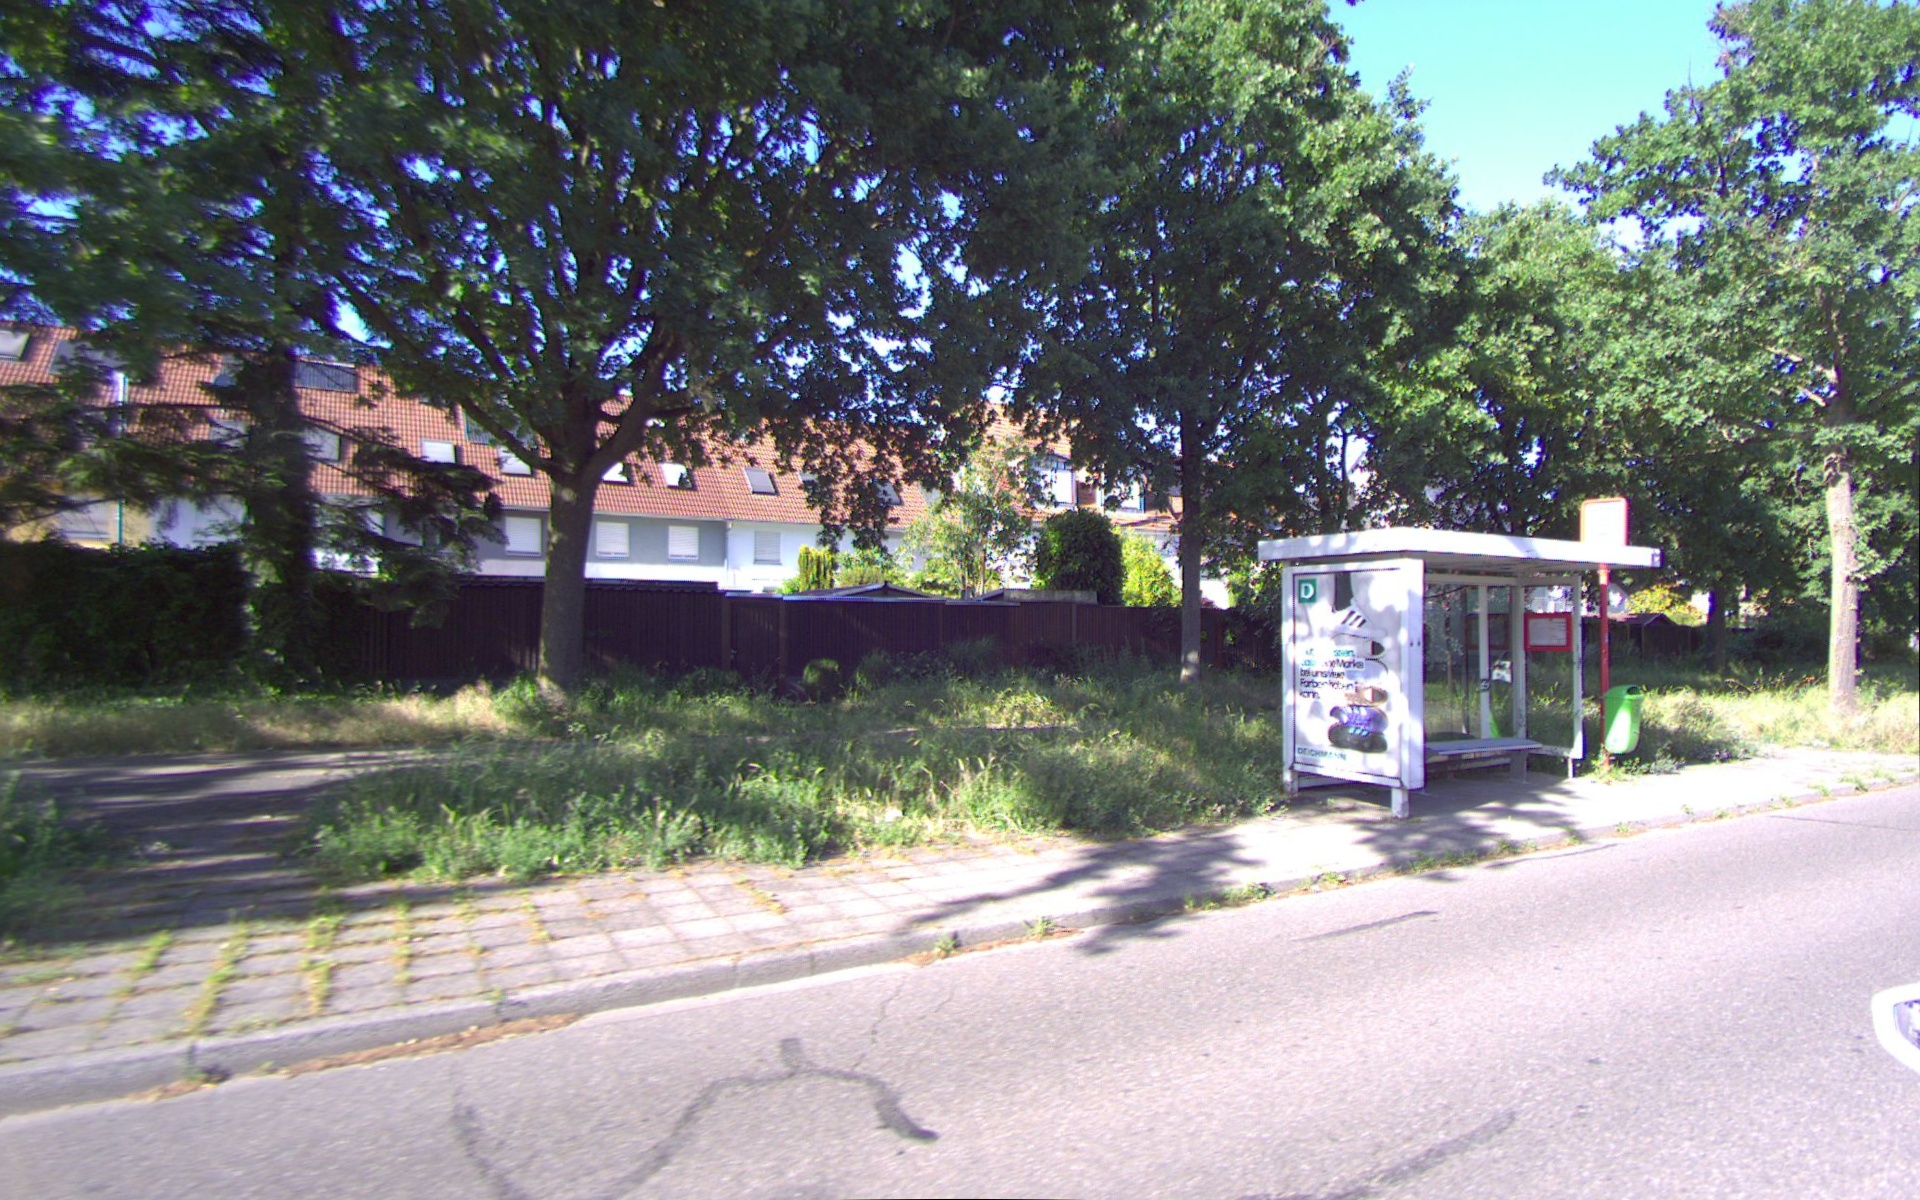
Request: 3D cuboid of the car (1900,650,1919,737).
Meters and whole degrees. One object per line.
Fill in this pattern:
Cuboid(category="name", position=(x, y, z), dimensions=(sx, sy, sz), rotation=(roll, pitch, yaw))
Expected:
Cuboid(category="car", position=(18.622, 1.683, 17.890), dimensions=(3.959, 1.499, 1.924), rotation=(2, -2, -34))
